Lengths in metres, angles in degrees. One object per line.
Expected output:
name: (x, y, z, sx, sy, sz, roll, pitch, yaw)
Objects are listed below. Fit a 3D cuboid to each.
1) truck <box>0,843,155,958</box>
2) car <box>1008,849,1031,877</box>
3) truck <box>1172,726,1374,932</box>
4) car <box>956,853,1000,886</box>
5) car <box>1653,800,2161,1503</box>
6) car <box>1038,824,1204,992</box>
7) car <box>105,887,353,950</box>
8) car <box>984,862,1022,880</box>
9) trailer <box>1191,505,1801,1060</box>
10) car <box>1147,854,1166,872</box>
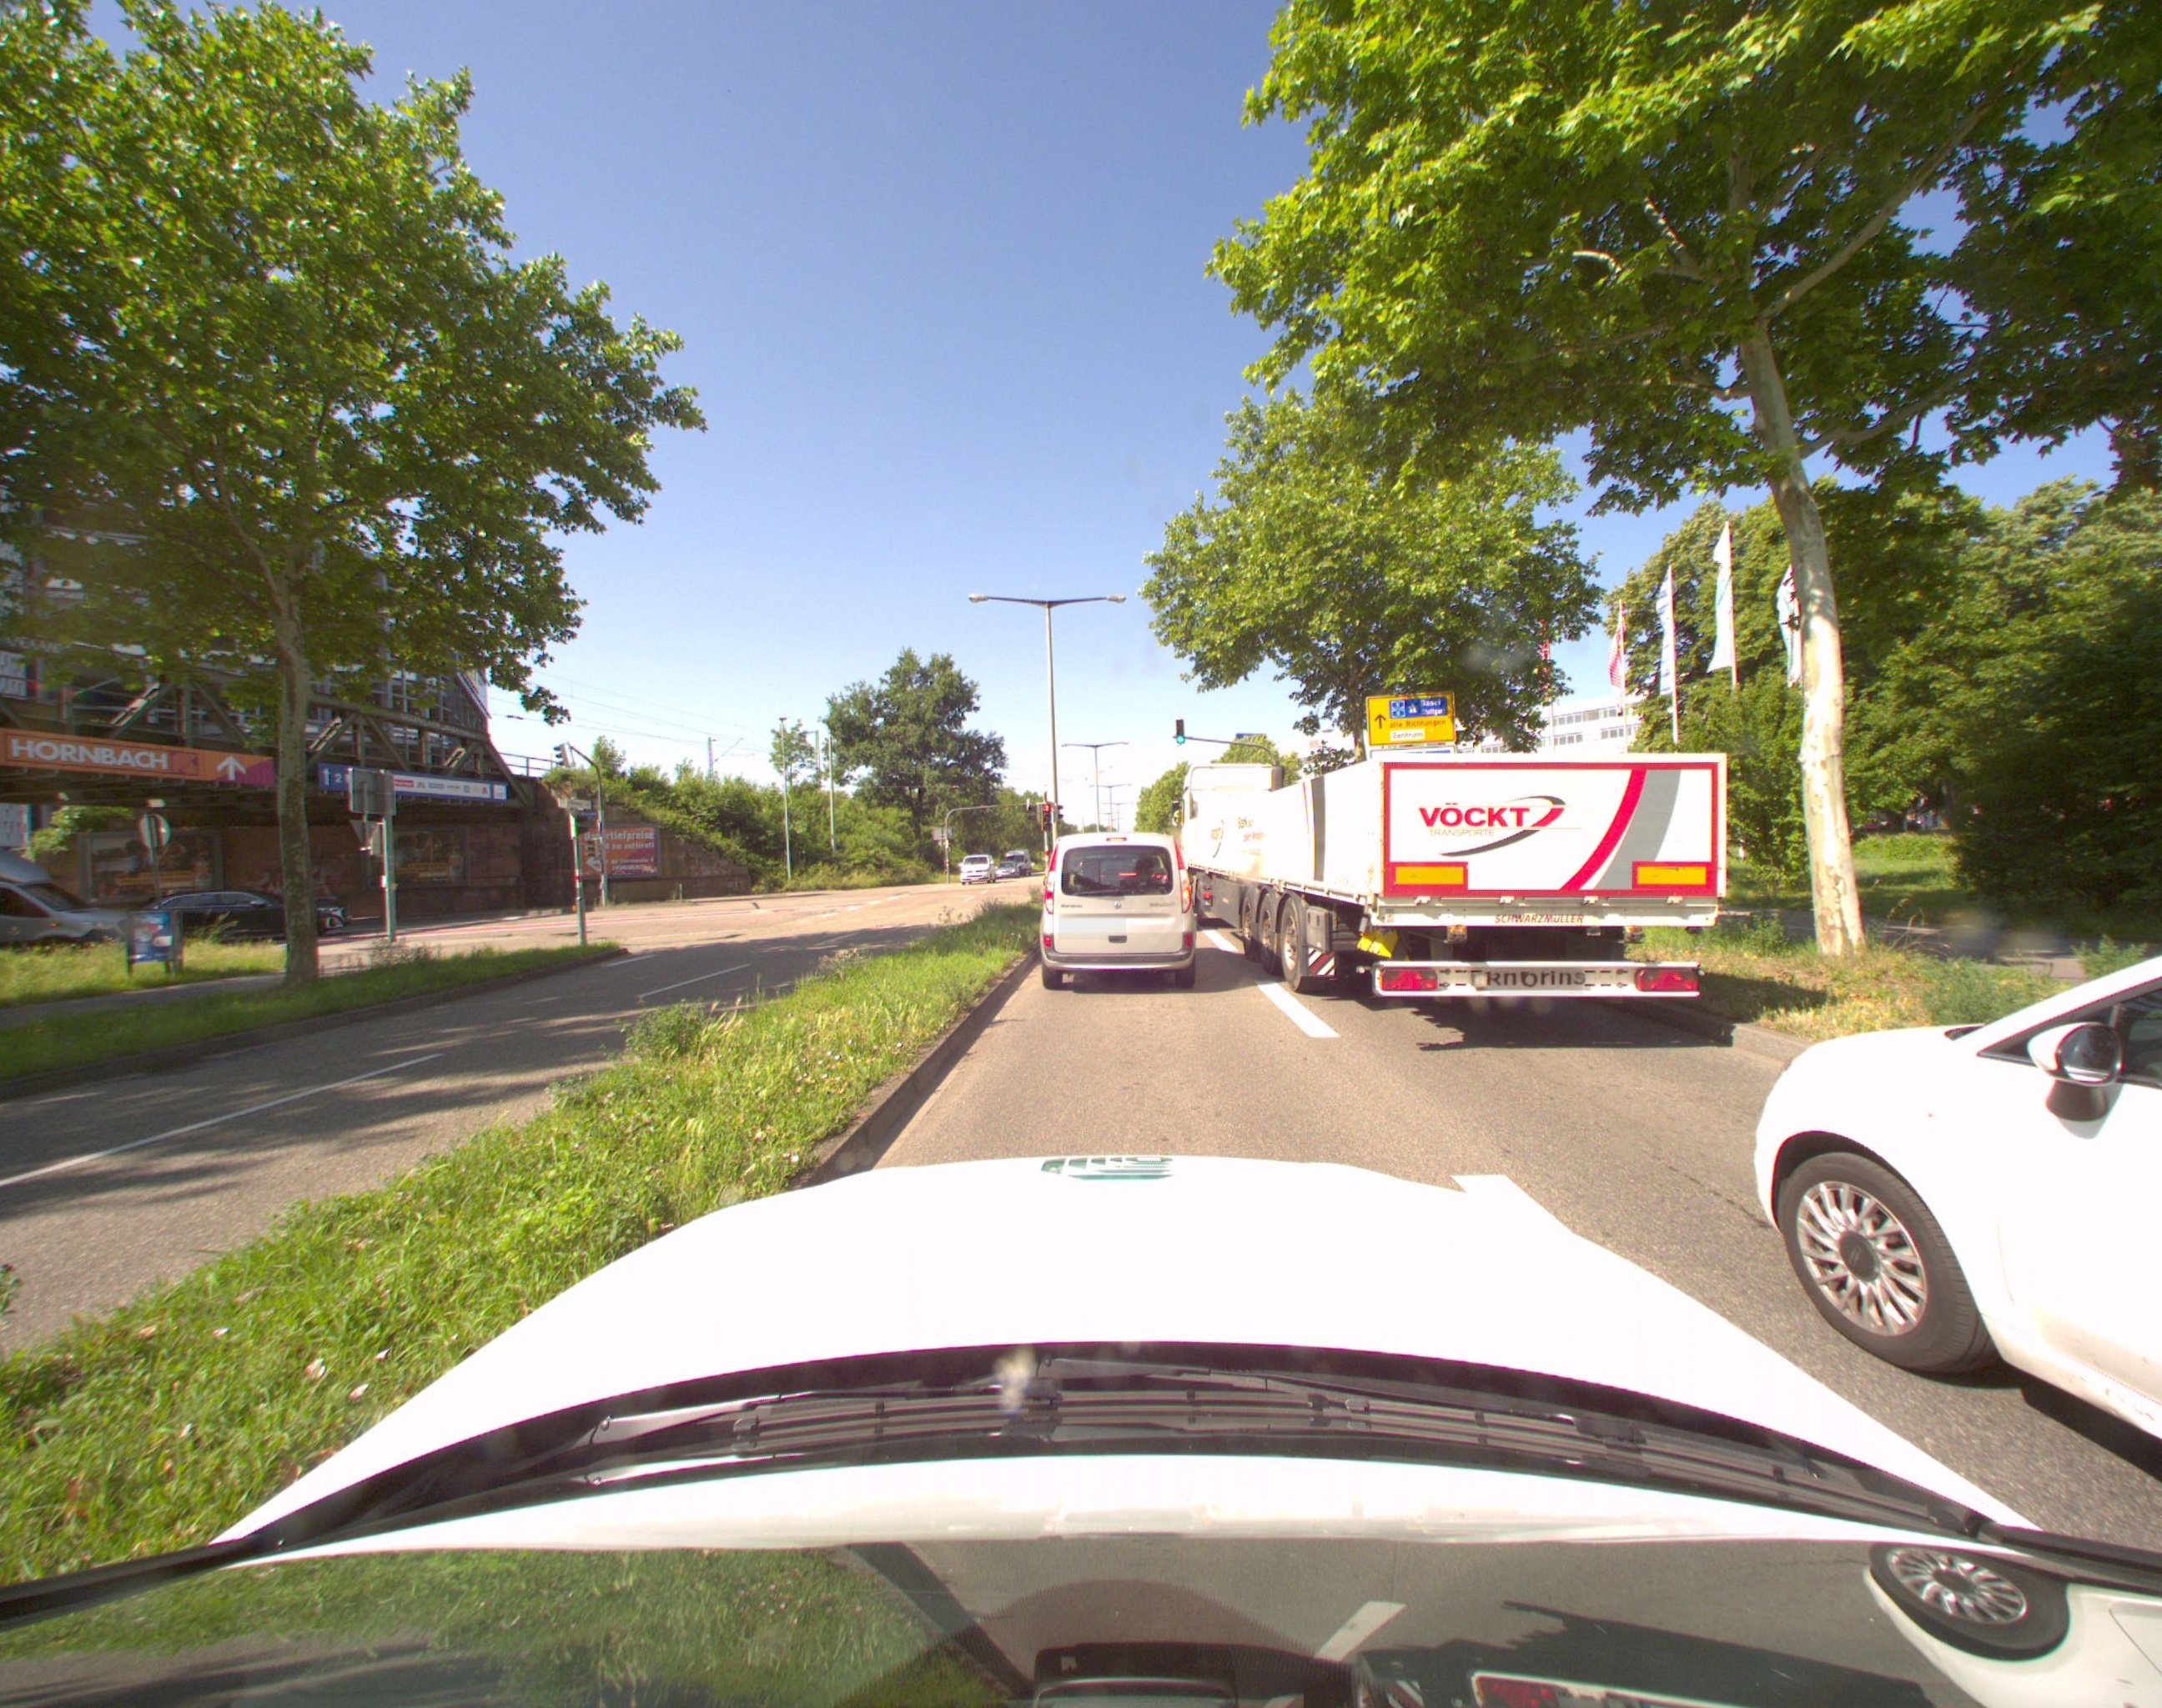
truck: (-27.247, 1.129, 19.463, 6.431, 2.713, 1.979, -1, -1, -34)
car: (-5.937, 0.871, 78.887, 2.054, 2.614, 5.861, -1, 0, -3)
truck: (3.968, -0.440, 18.806, 3.060, 3.758, 7.479, -1, -1, 2)
car: (-6.702, 0.983, 53.432, 1.986, 1.891, 4.989, -4, -1, 2)
car: (3.014, 0.593, 1.462, 1.654, 1.436, 3.523, -1, 0, 4)
car: (0.497, 0.591, 10.674, 1.742, 1.772, 3.951, -1, 0, 2)
car: (-26.044, 1.908, 25.199, 5.074, 1.596, 1.510, -1, -1, -35)
car: (-6.523, 1.374, 67.847, 1.920, 1.409, 4.193, -1, -1, -24)
trailer: (3.634, -0.438, 11.689, 3.004, 3.741, 12.248, -1, 0, 3)
car: (8.904, 1.069, 95.897, 1.986, 2.014, 4.001, -1, -1, 2)
